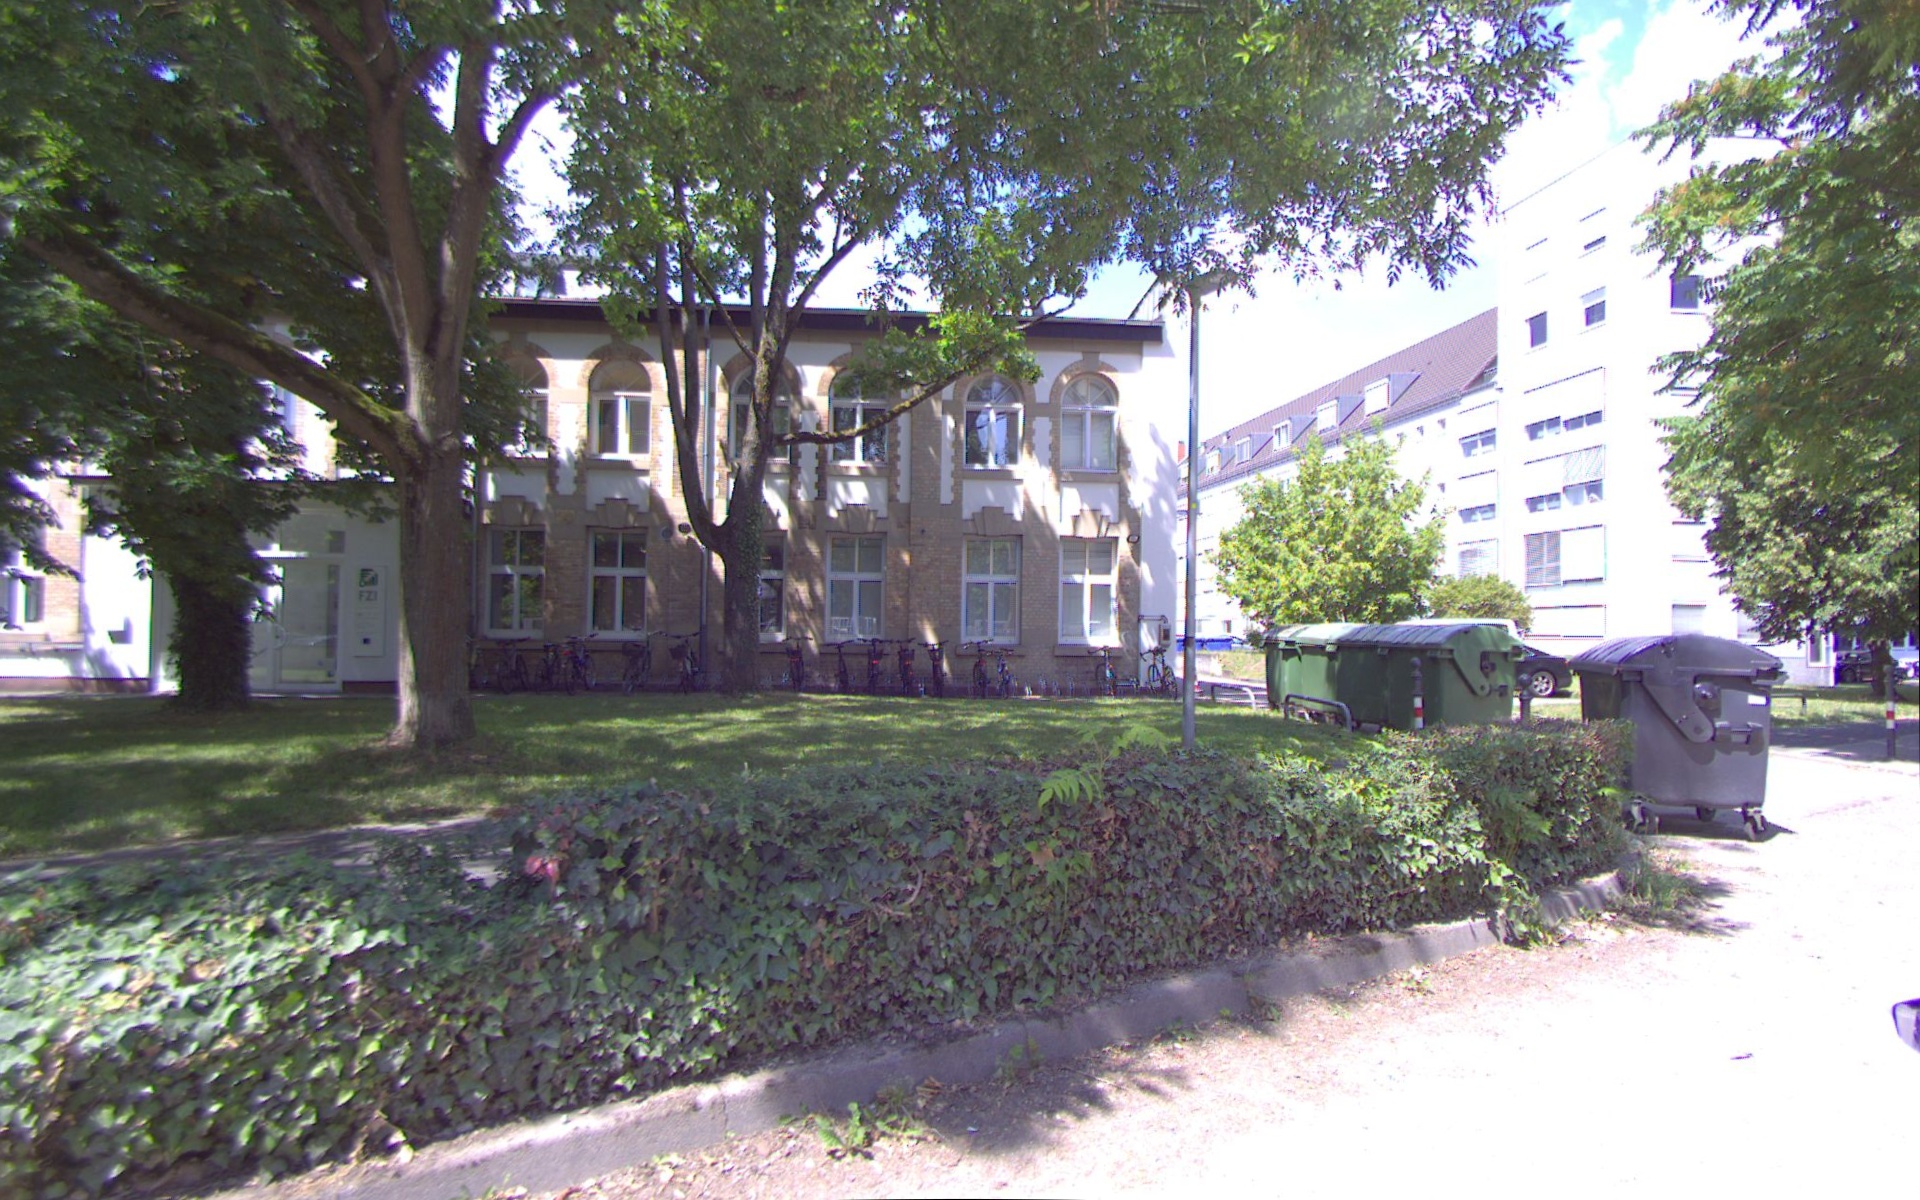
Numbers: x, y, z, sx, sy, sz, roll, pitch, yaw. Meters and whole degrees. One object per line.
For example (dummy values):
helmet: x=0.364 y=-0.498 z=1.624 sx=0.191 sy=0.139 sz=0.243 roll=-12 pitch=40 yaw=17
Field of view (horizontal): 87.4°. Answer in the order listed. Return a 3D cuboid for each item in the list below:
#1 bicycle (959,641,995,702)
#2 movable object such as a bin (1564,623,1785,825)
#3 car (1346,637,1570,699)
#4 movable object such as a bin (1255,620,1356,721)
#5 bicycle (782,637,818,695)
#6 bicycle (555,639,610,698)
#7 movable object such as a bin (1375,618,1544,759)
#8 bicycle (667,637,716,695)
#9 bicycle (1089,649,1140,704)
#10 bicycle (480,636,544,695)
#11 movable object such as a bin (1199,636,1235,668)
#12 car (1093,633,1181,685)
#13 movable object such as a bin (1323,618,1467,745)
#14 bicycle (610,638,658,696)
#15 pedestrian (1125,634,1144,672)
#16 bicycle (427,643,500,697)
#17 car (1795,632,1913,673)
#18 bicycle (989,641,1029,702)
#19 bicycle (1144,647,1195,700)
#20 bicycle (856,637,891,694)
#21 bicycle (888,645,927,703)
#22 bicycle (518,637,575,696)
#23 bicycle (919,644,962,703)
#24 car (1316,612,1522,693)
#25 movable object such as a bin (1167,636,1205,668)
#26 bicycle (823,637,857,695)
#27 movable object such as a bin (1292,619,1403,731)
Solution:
bicycle: x=0.322 y=1.375 z=19.884 sx=0.595 sy=1.096 sz=2.259 roll=1 pitch=-1 yaw=-2
movable object such as a bin: x=5.448 y=0.888 z=7.778 sx=1.094 sy=1.412 sz=1.161 roll=0 pitch=-2 yaw=19
car: x=11.897 y=1.617 z=24.148 sx=4.538 sy=1.370 sz=1.833 roll=1 pitch=-1 yaw=-4
movable object such as a bin: x=5.329 y=1.068 z=15.604 sx=1.027 sy=1.499 sz=1.409 roll=0 pitch=-2 yaw=-3
bicycle: x=-3.083 y=1.249 z=19.460 sx=0.596 sy=1.024 sz=2.257 roll=1 pitch=-1 yaw=-7
bicycle: x=-7.204 y=1.284 z=19.257 sx=0.596 sy=1.024 sz=2.255 roll=1 pitch=-1 yaw=-11
movable object such as a bin: x=5.613 y=0.960 z=11.382 sx=1.185 sy=1.499 sz=1.324 roll=0 pitch=-2 yaw=-7
bicycle: x=-5.175 y=1.254 z=19.447 sx=0.596 sy=1.024 sz=2.257 roll=1 pitch=-1 yaw=-7
bicycle: x=3.051 y=1.499 z=19.987 sx=0.595 sy=0.971 sz=2.259 roll=1 pitch=-1 yaw=-2
bicycle: x=-8.470 y=1.216 z=19.072 sx=0.621 sy=1.025 sz=2.255 roll=1 pitch=-1 yaw=-11
movable object such as a bin: x=10.892 y=2.190 z=42.648 sx=1.196 sy=1.344 sz=1.160 roll=0 pitch=-2 yaw=-1
car: x=5.343 y=1.750 z=30.862 sx=1.726 sy=1.448 sz=4.385 roll=1 pitch=-2 yaw=-3
movable object such as a bin: x=5.466 y=0.994 z=12.710 sx=1.078 sy=1.499 sz=1.356 roll=1 pitch=-2 yaw=-14
bicycle: x=-6.244 y=1.254 z=19.296 sx=0.596 sy=1.024 sz=2.255 roll=1 pitch=-1 yaw=-11
pedestrian: x=8.208 y=2.485 z=47.224 sx=0.745 sy=1.778 sz=0.751 roll=1 pitch=-1 yaw=-3
bicycle: x=-9.234 y=1.272 z=18.760 sx=0.644 sy=0.902 sz=2.255 roll=1 pitch=-1 yaw=-11
car: x=37.363 y=2.189 z=42.021 sx=3.559 sy=1.642 sz=1.673 roll=1 pitch=-1 yaw=-4
bicycle: x=0.953 y=1.375 z=19.885 sx=0.595 sy=1.096 sz=2.259 roll=1 pitch=-1 yaw=-2
bicycle: x=4.174 y=1.460 z=20.139 sx=0.602 sy=0.971 sz=1.729 roll=1 pitch=-1 yaw=-2
bicycle: x=-1.705 y=1.248 z=19.596 sx=0.596 sy=1.024 sz=2.257 roll=1 pitch=-1 yaw=-7
bicycle: x=-1.051 y=1.410 z=19.650 sx=0.596 sy=1.024 sz=2.257 roll=1 pitch=-1 yaw=-7
bicycle: x=-7.832 y=1.237 z=19.105 sx=0.560 sy=1.024 sz=2.255 roll=1 pitch=-1 yaw=-11
bicycle: x=-0.407 y=1.409 z=19.693 sx=0.596 sy=1.024 sz=2.257 roll=1 pitch=-1 yaw=-7
car: x=12.300 y=1.414 z=27.132 sx=4.683 sy=2.040 sz=1.999 roll=1 pitch=-2 yaw=-4
movable object such as a bin: x=9.549 y=2.191 z=42.536 sx=1.317 sy=1.344 sz=1.160 roll=0 pitch=-2 yaw=-1
bicycle: x=-2.346 y=1.250 z=19.576 sx=0.596 sy=1.024 sz=2.257 roll=1 pitch=-1 yaw=-7
movable object such as a bin: x=5.407 y=1.030 z=14.114 sx=1.027 sy=1.499 sz=1.261 roll=0 pitch=-2 yaw=-3
